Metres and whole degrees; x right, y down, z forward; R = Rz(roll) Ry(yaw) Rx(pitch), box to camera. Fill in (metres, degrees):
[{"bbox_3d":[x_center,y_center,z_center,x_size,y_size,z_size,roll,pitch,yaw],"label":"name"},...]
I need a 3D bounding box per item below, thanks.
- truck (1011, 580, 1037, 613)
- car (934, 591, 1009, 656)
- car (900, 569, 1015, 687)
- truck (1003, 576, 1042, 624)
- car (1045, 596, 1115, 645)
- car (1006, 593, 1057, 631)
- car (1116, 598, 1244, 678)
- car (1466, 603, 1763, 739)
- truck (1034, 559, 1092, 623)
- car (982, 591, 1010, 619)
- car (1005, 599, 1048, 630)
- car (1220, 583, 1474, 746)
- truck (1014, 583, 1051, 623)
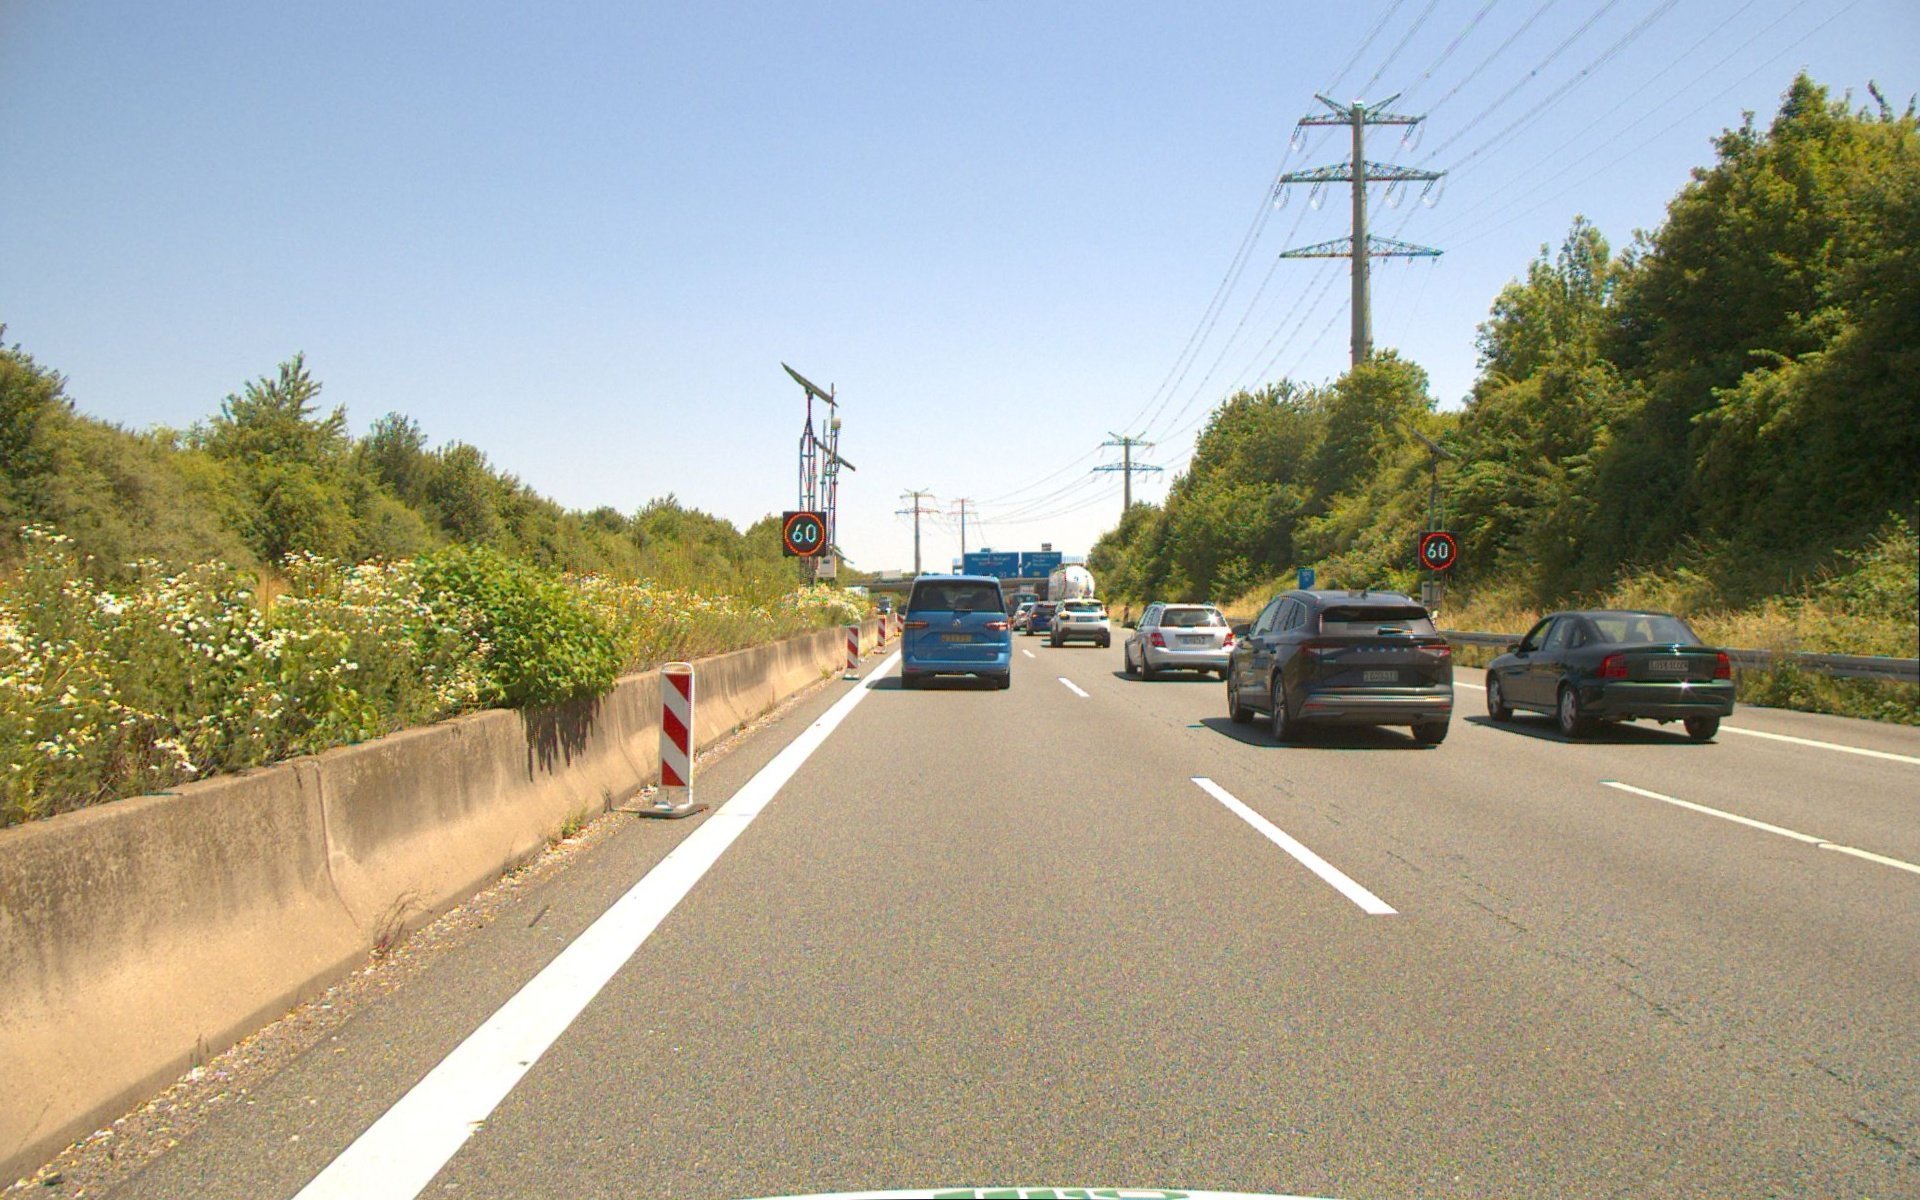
[{"bbox_3d":[8.898,-0.473,230.433,2.878,4.366,12.548,1,0,-1],"label":"truck"},{"bbox_3d":[0.252,0.601,44.402,1.870,1.659,4.382,0,0,-1],"label":"car"},{"bbox_3d":[-0.112,0.458,29.353,1.833,1.912,4.381,1,0,-2],"label":"car"},{"bbox_3d":[3.735,0.024,99.617,1.953,2.771,5.678,1,0,-1],"label":"truck"},{"bbox_3d":[3.904,0.649,54.278,1.870,1.534,3.920,1,0,-2],"label":"car"},{"bbox_3d":[3.090,0.503,72.015,1.870,1.542,4.382,1,0,-2],"label":"car"},{"bbox_3d":[4.283,0.703,32.785,1.784,1.462,4.382,1,0,-2],"label":"car"},{"bbox_3d":[7.612,0.762,19.712,1.699,1.402,4.300,1,0,-2],"label":"car"},{"bbox_3d":[7.058,-0.589,115.390,2.591,4.143,16.436,1,0,-1],"label":"truck"},{"bbox_3d":[2.737,0.389,126.638,1.953,2.049,3.999,1,0,-1],"label":"car"},{"bbox_3d":[3.376,0.719,84.891,1.870,1.542,4.382,1,0,-2],"label":"car"},{"bbox_3d":[4.276,0.639,18.970,1.791,1.642,4.430,0,0,-1],"label":"car"},{"bbox_3d":[6.811,0.261,156.705,2.591,3.600,12.548,1,0,-1],"label":"truck"}]
